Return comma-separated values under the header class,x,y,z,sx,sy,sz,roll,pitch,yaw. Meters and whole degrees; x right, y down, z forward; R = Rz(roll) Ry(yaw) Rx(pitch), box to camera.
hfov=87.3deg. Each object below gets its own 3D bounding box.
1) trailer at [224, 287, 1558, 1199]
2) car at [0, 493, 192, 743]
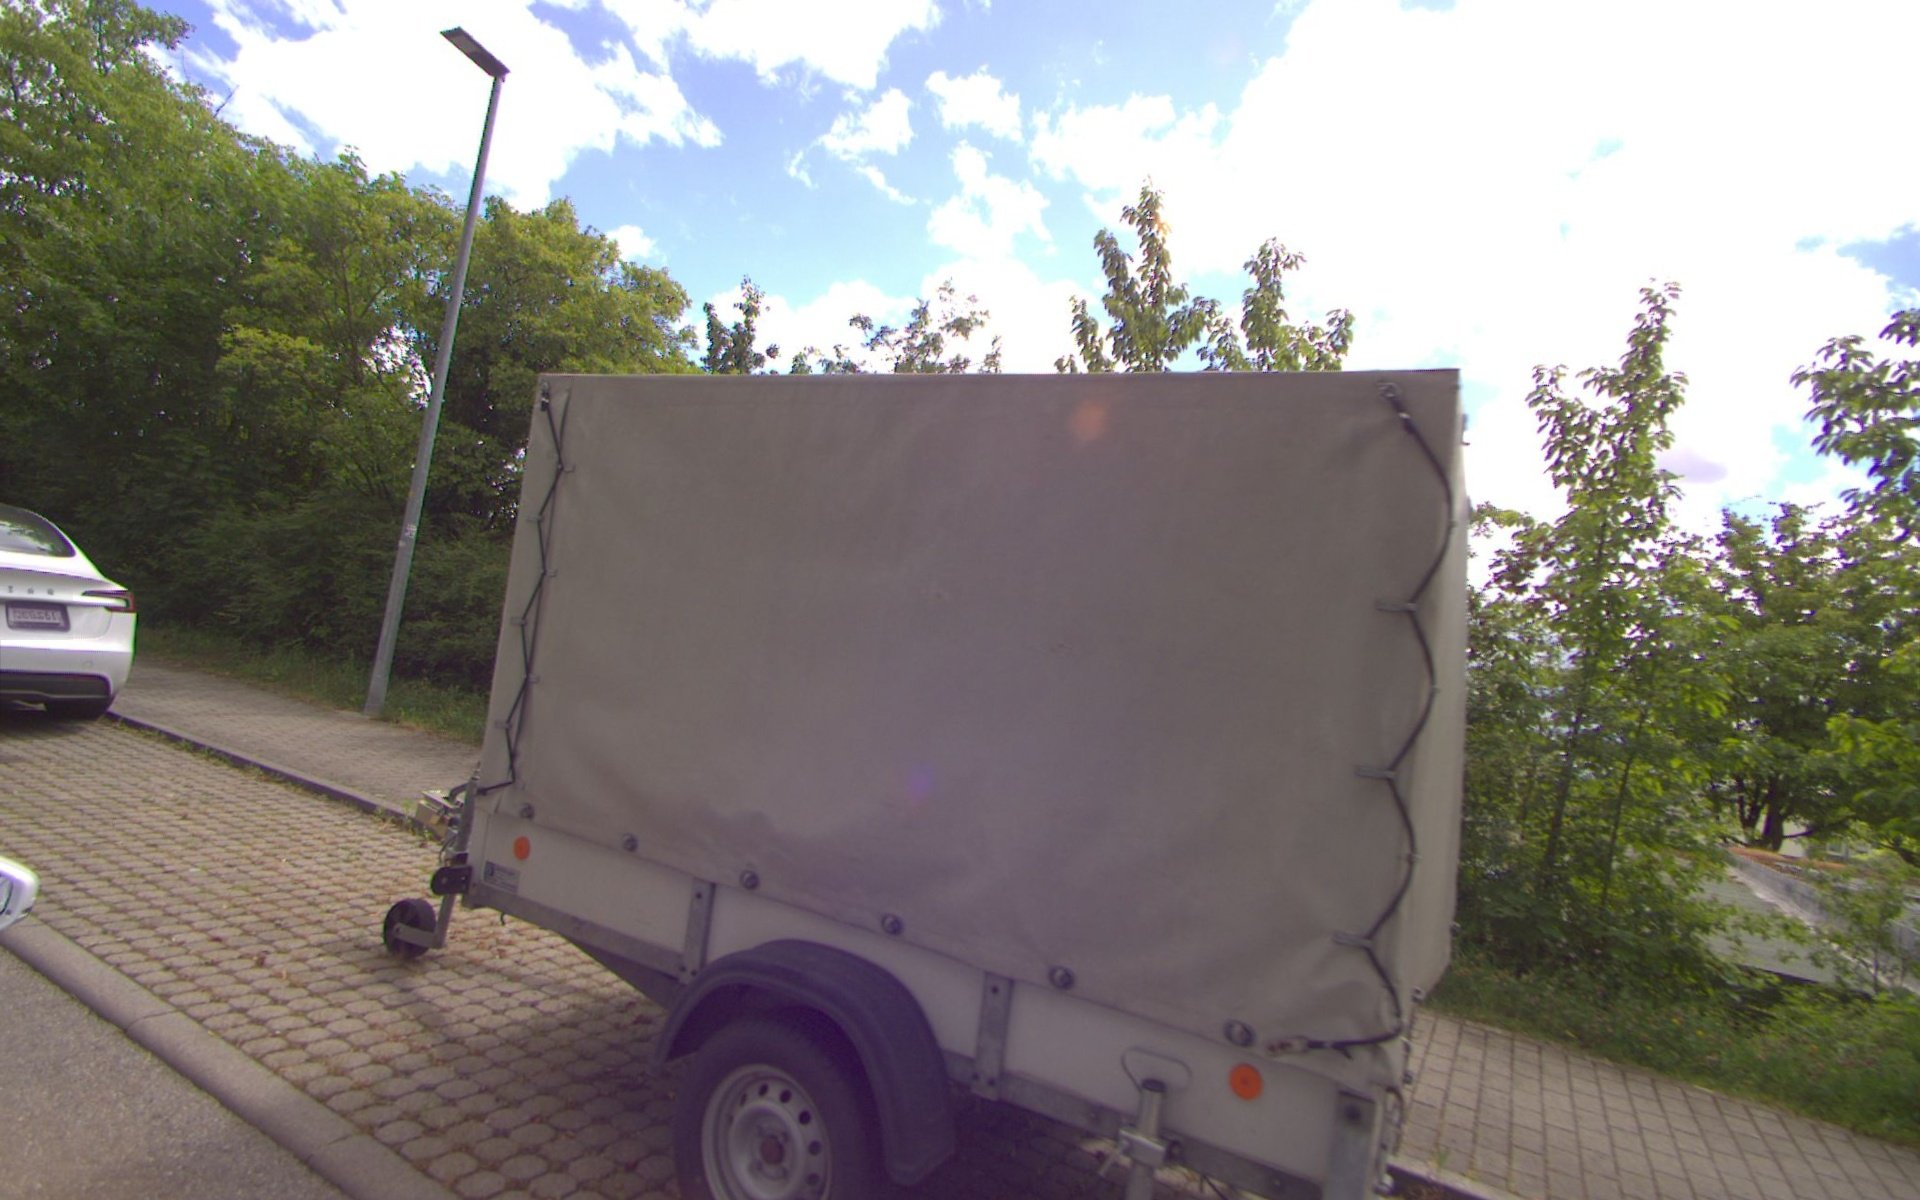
class,x,y,z,sx,sy,sz,roll,pitch,yaw
trailer,-0.360,0.442,3.290,3.719,2.102,1.734,6,-2,29
car,-7.933,-0.169,7.141,4.815,1.494,1.869,8,-1,26
